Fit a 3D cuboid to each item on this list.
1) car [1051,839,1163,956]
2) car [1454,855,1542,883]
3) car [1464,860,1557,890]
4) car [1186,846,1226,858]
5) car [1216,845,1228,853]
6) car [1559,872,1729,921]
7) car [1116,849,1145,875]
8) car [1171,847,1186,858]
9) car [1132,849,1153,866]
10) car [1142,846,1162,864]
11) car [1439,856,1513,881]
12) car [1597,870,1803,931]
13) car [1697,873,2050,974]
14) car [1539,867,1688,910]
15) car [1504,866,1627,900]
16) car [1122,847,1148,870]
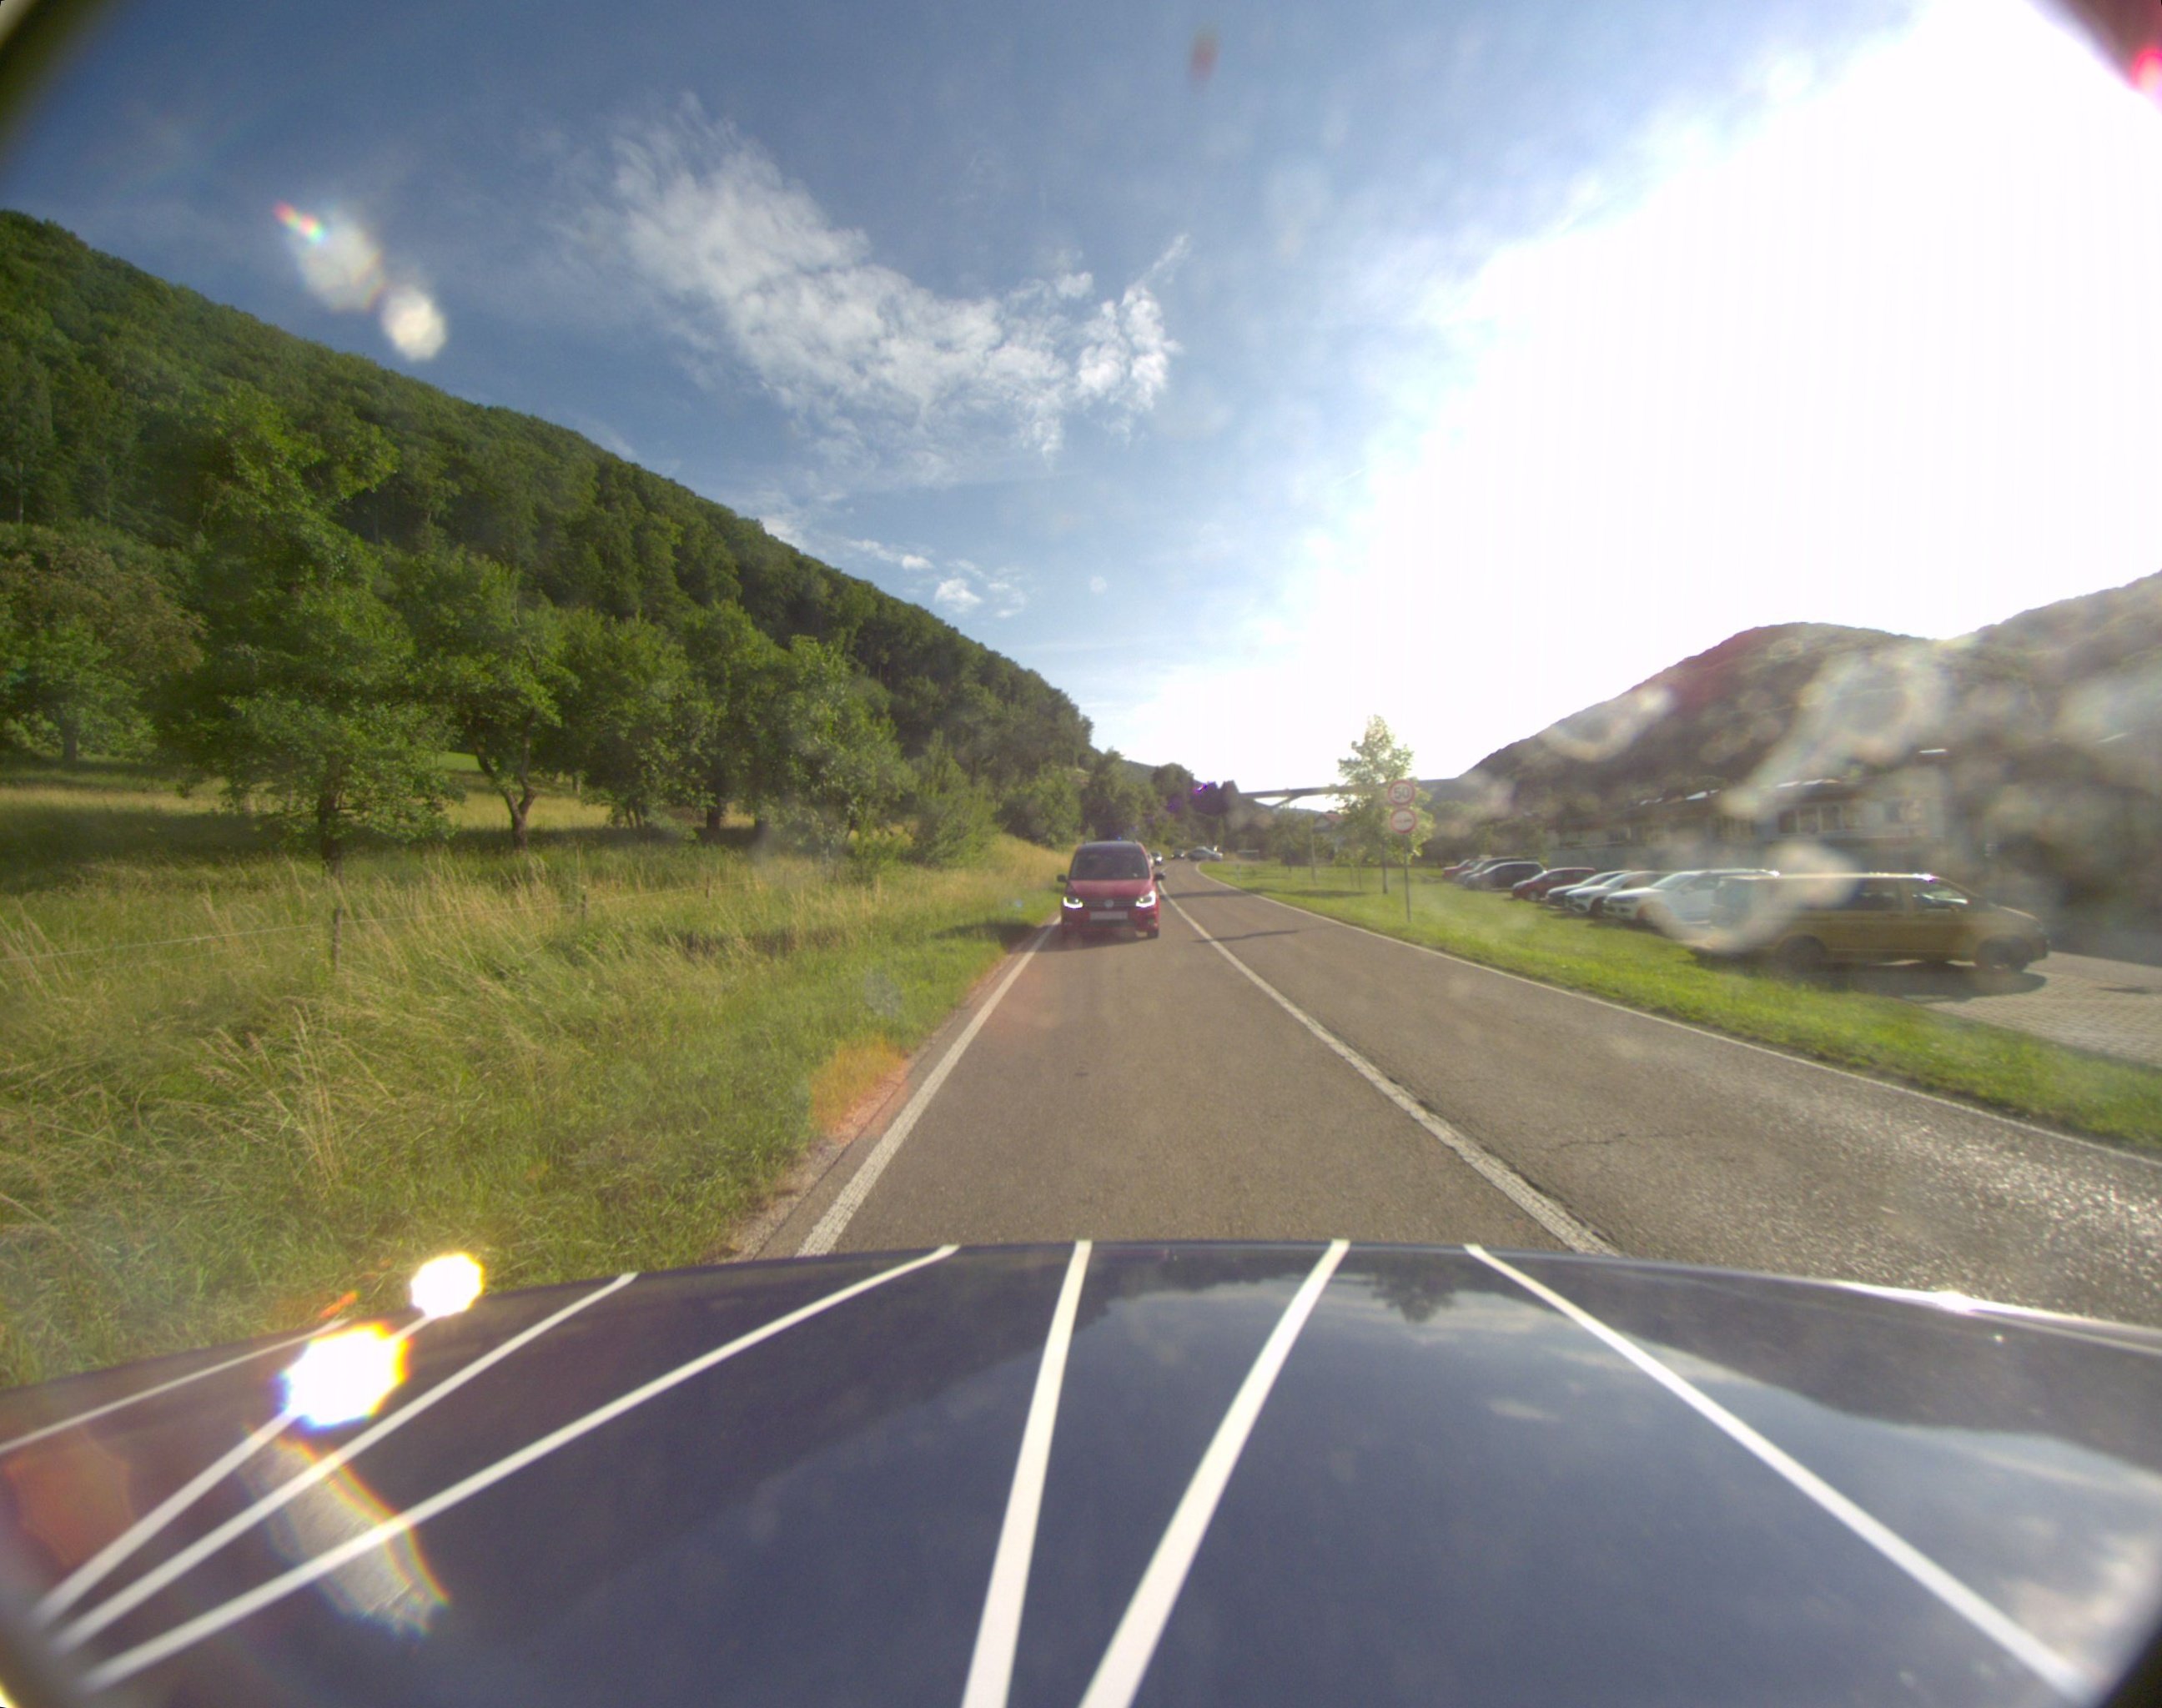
[{"bbox_3d":[0.537,0.719,14.448,1.746,1.849,4.349,-2,0,3],"label":"car"},{"bbox_3d":[26.896,0.963,49.187,4.665,1.752,2.003,-1,0,18],"label":"car"},{"bbox_3d":[25.157,1.220,44.703,4.438,1.573,2.003,-2,0,18],"label":"car"},{"bbox_3d":[16.460,-0.245,99.941,4.760,1.518,2.004,-1,0,38],"label":"car"},{"bbox_3d":[30.654,-1.038,165.298,1.996,1.707,4.006,-1,0,19],"label":"car"},{"bbox_3d":[19.783,1.465,26.955,4.437,1.577,2.003,-1,0,19],"label":"car"},{"bbox_3d":[3.220,0.507,48.725,1.692,1.539,4.002,-2,0,6],"label":"car"},{"bbox_3d":[14.860,-0.246,115.270,1.911,1.676,4.003,-1,0,12],"label":"car"},{"bbox_3d":[5.635,0.333,69.118,1.798,1.464,4.285,-2,0,6],"label":"car"},{"bbox_3d":[7.680,0.109,82.335,1.997,1.838,4.002,-1,0,7],"label":"car"},{"bbox_3d":[28.171,1.061,54.374,4.437,1.709,2.003,-1,0,18],"label":"car"},{"bbox_3d":[18.951,1.393,23.546,4.545,1.691,2.003,-1,0,19],"label":"car"},{"bbox_3d":[16.011,1.346,15.720,4.653,1.802,2.003,-1,0,19],"label":"car"},{"bbox_3d":[20.950,1.350,30.125,4.437,1.573,2.003,-1,0,17],"label":"car"},{"bbox_3d":[22.180,1.336,35.016,4.437,1.443,2.003,-1,0,19],"label":"car"},{"bbox_3d":[4.305,0.366,59.732,1.901,1.717,4.002,-2,0,5],"label":"car"}]
